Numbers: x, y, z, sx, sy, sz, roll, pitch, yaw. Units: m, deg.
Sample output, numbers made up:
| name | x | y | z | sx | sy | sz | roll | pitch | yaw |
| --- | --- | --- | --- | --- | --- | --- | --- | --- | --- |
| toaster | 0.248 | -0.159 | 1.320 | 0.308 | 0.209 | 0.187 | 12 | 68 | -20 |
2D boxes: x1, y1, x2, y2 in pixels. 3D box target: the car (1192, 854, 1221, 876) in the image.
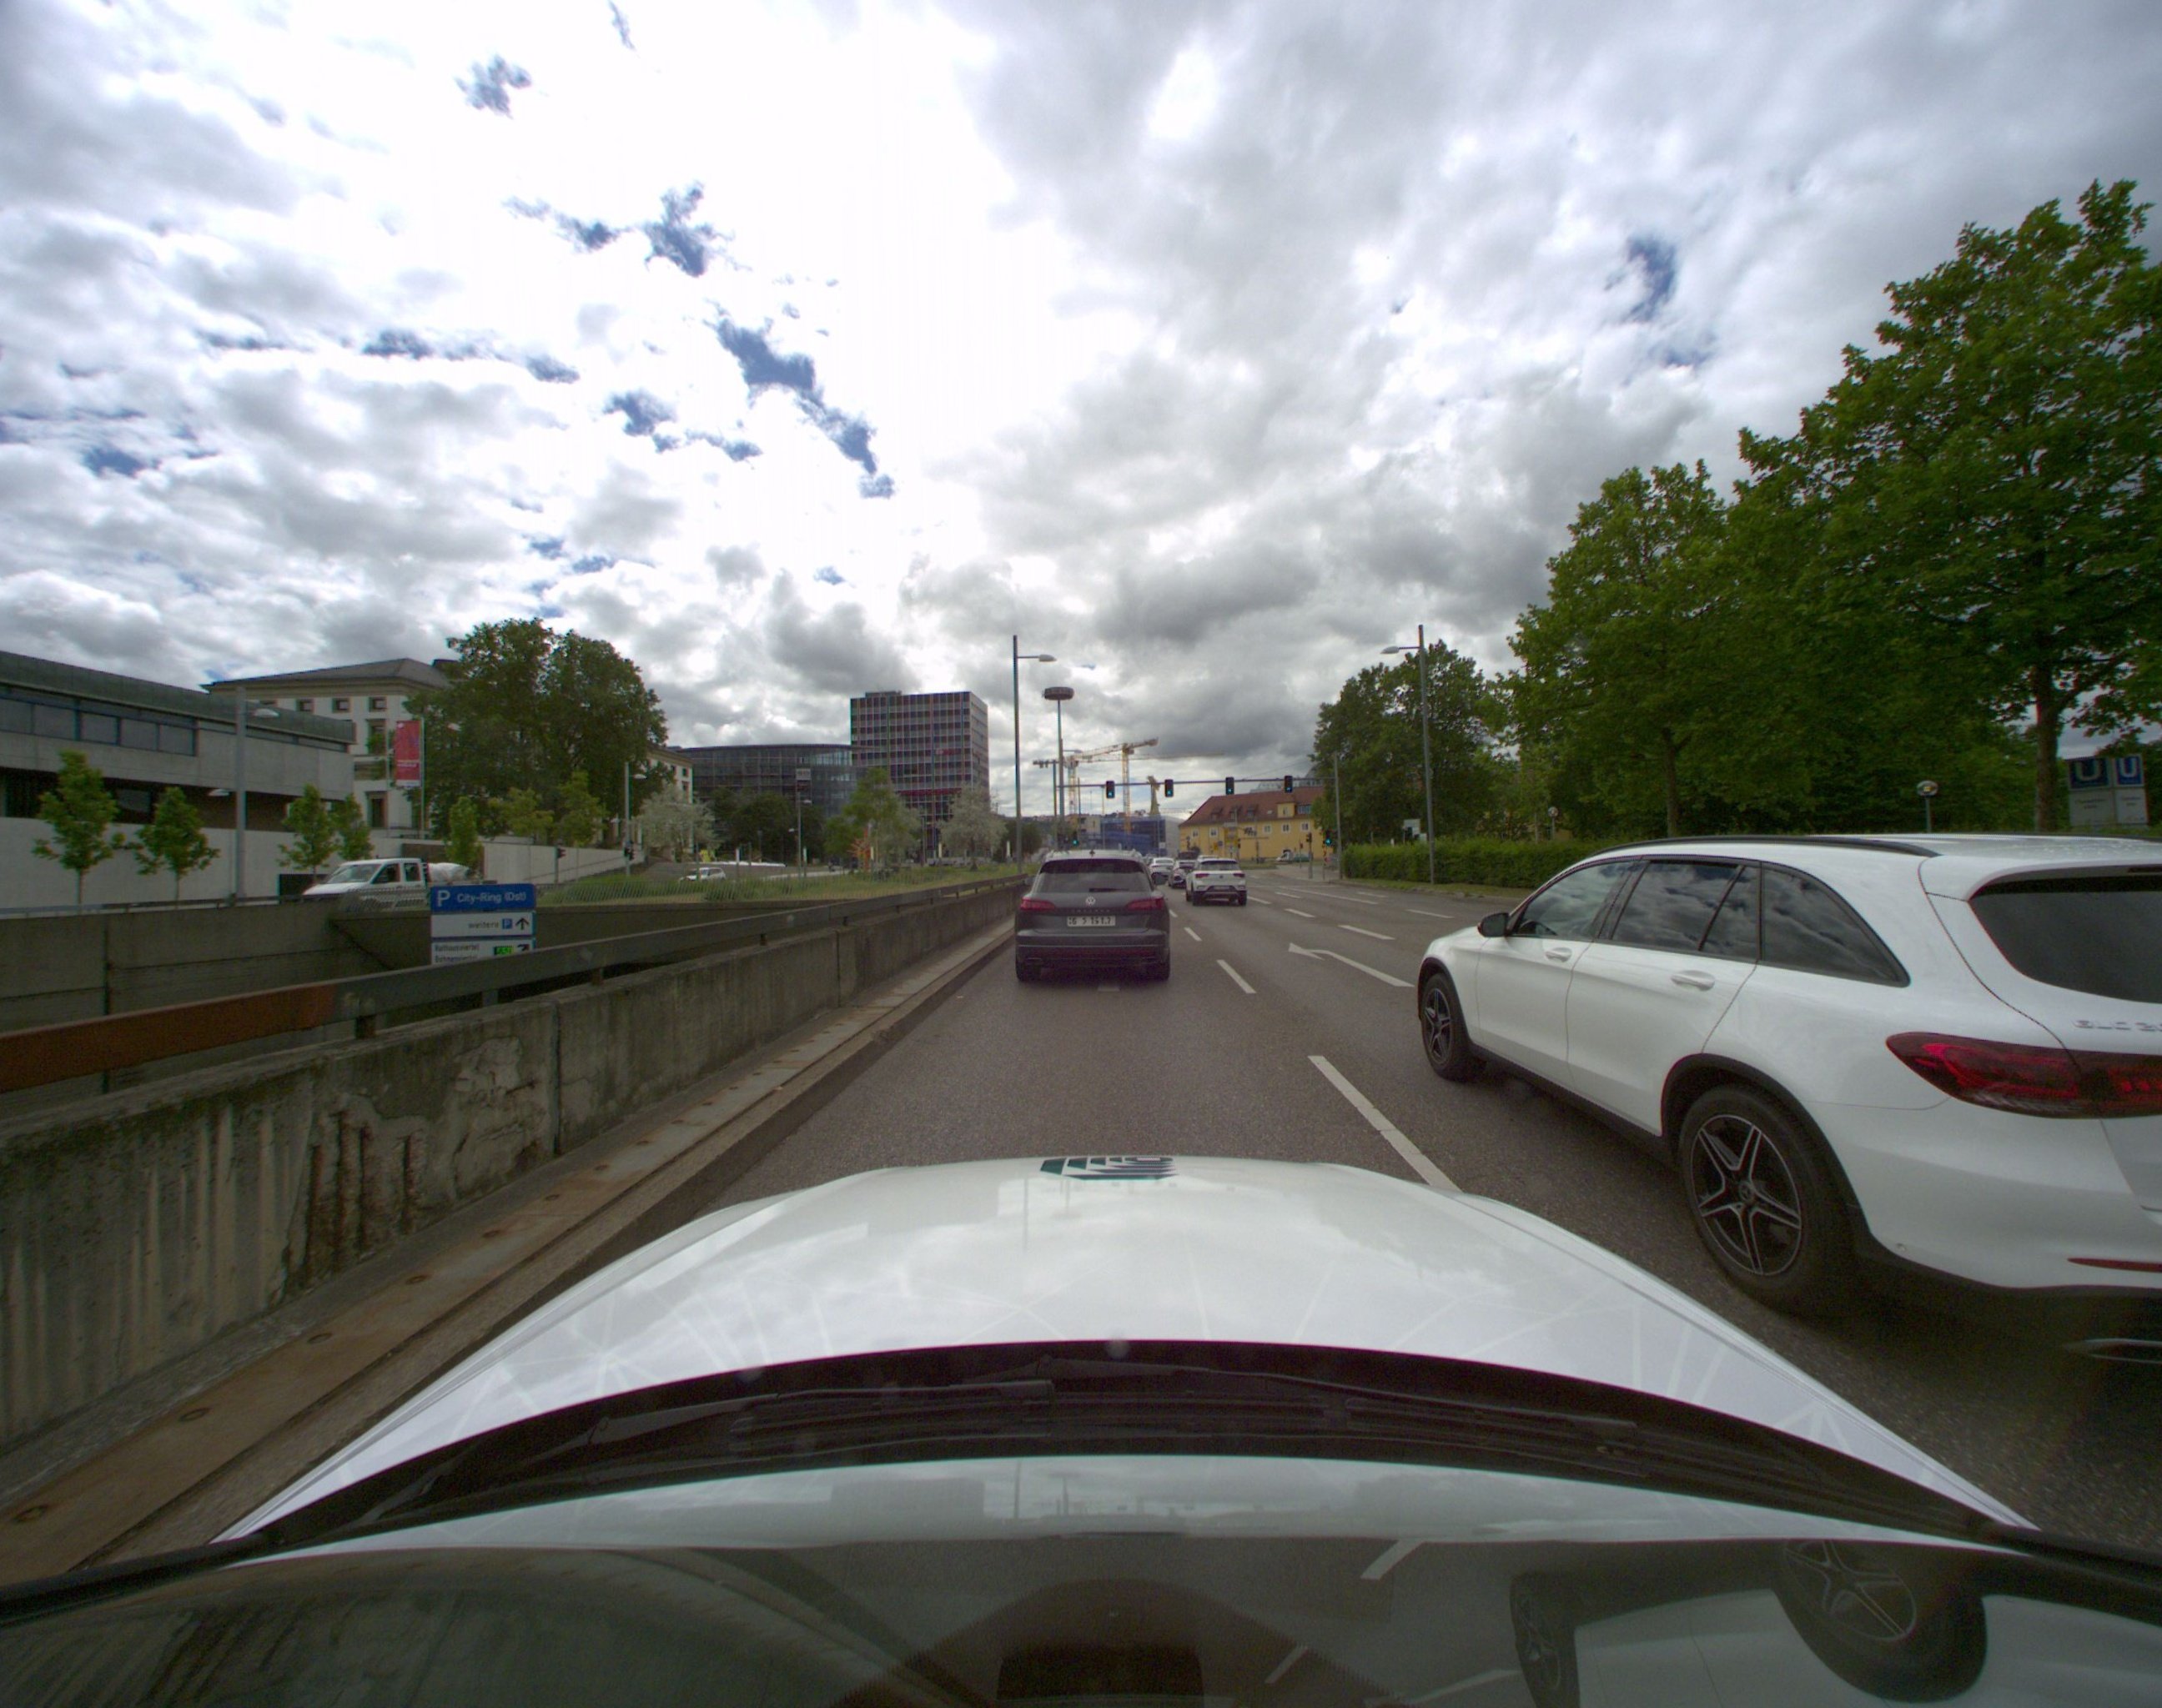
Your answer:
| name | x | y | z | sx | sy | sz | roll | pitch | yaw |
| --- | --- | --- | --- | --- | --- | --- | --- | --- | --- |
| car | 9.296 | 0.796 | 60.489 | 1.795 | 1.502 | 3.985 | -1 | 0 | 4 |

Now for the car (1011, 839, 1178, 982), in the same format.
| name | x | y | z | sx | sy | sz | roll | pitch | yaw |
| --- | --- | --- | --- | --- | --- | --- | --- | --- | --- |
| car | 0.238 | 0.657 | 11.511 | 1.925 | 1.647 | 4.002 | -1 | 0 | 2 |

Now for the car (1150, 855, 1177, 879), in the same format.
| name | x | y | z | sx | sy | sz | roll | pitch | yaw |
| --- | --- | --- | --- | --- | --- | --- | --- | --- | --- |
| car | 5.541 | 0.869 | 54.569 | 1.710 | 1.502 | 3.987 | -1 | 0 | 6 |

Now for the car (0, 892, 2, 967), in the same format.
| name | x | y | z | sx | sy | sz | roll | pitch | yaw |
| --- | --- | --- | --- | --- | --- | --- | --- | --- | --- |
| car | -27.169 | 1.861 | 17.565 | 1.986 | 1.816 | 4.260 | -1 | 0 | 2 |

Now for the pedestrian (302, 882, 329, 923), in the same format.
| name | x | y | z | sx | sy | sz | roll | pitch | yaw |
| --- | --- | --- | --- | --- | --- | --- | --- | --- | --- |
| pedestrian | -33.729 | 2.131 | 35.876 | 0.538 | 1.733 | 0.664 | -1 | 0 | 2 |

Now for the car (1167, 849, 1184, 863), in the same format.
| name | x | y | z | sx | sy | sz | roll | pitch | yaw |
| --- | --- | --- | --- | --- | --- | --- | --- | --- | --- |
| car | 10.777 | 0.254 | 92.726 | 1.711 | 1.502 | 3.985 | -1 | 0 | 4 |

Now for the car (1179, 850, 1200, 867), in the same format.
| name | x | y | z | sx | sy | sz | roll | pitch | yaw |
| --- | --- | --- | --- | --- | --- | --- | --- | --- | --- |
| car | 10.294 | 0.421 | 77.281 | 1.711 | 1.502 | 3.985 | -1 | 0 | 4 |

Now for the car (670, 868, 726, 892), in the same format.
| name | x | y | z | sx | sy | sz | roll | pitch | yaw |
| --- | --- | --- | --- | --- | --- | --- | --- | --- | --- |
| car | -28.382 | 1.906 | 60.462 | 1.711 | 1.574 | 4.617 | -1 | 0 | 4 |

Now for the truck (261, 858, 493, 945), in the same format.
| name | x | y | z | sx | sy | sz | roll | pitch | yaw |
| --- | --- | --- | --- | --- | --- | --- | --- | --- | --- |
| truck | -26.728 | 1.654 | 31.506 | 2.453 | 2.816 | 7.086 | -1 | 0 | 4 |

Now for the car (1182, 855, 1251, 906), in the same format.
| name | x | y | z | sx | sy | sz | roll | pitch | yaw |
| --- | --- | --- | --- | --- | --- | --- | --- | --- | --- |
| car | 4.542 | 0.836 | 27.858 | 1.886 | 1.585 | 3.803 | -1 | 0 | 3 |

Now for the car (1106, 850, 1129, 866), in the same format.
| name | x | y | z | sx | sy | sz | roll | pitch | yaw |
| --- | --- | --- | --- | --- | --- | --- | --- | --- | --- |
| car | 3.800 | 0.373 | 83.239 | 2.235 | 1.502 | 4.616 | -1 | 0 | 4 |

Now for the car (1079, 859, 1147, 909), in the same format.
| name | x | y | z | sx | sy | sz | roll | pitch | yaw |
| --- | --- | --- | --- | --- | --- | --- | --- | --- | --- |
| car | 1.027 | 0.913 | 26.109 | 1.986 | 1.387 | 4.003 | -1 | 0 | 2 |

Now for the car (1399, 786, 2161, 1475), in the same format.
| name | x | y | z | sx | sy | sz | roll | pitch | yaw |
| --- | --- | --- | --- | --- | --- | --- | --- | --- | --- |
| car | 3.252 | 0.647 | 4.112 | 1.811 | 1.647 | 4.383 | -1 | 0 | 4 |

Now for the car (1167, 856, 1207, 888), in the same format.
| name | x | y | z | sx | sy | sz | roll | pitch | yaw |
| --- | --- | --- | --- | --- | --- | --- | --- | --- | --- |
| car | 5.362 | 0.888 | 41.558 | 1.711 | 1.502 | 4.148 | -1 | 0 | 4 |

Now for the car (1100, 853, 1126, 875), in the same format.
| name | x | y | z | sx | sy | sz | roll | pitch | yaw |
| --- | --- | --- | --- | --- | --- | --- | --- | --- | --- |
| car | 2.307 | 0.727 | 59.186 | 1.807 | 1.496 | 3.908 | -1 | 0 | 2 |

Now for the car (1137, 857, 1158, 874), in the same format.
| name | x | y | z | sx | sy | sz | roll | pitch | yaw |
| --- | --- | --- | --- | --- | --- | --- | --- | --- | --- |
| car | 6.989 | 1.156 | 85.790 | 2.130 | 1.728 | 4.074 | -1 | -1 | 3 |

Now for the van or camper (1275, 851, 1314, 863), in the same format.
| name | x | y | z | sx | sy | sz | roll | pitch | yaw |
| --- | --- | --- | --- | --- | --- | --- | --- | --- | --- |
| van or camper | 35.588 | 0.504 | 135.755 | 5.947 | 2.014 | 2.032 | -1 | -1 | 38 |

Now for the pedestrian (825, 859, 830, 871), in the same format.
| name | x | y | z | sx | sy | sz | roll | pitch | yaw |
| --- | --- | --- | --- | --- | --- | --- | --- | --- | --- |
| pedestrian | -33.022 | 1.449 | 106.124 | 0.522 | 1.649 | 0.651 | 0 | -1 | 1 |

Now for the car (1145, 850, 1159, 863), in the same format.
| name | x | y | z | sx | sy | sz | roll | pitch | yaw |
| --- | --- | --- | --- | --- | --- | --- | --- | --- | --- |
| car | 11.126 | 0.372 | 127.386 | 1.986 | 2.013 | 4.002 | -1 | 0 | 2 |
